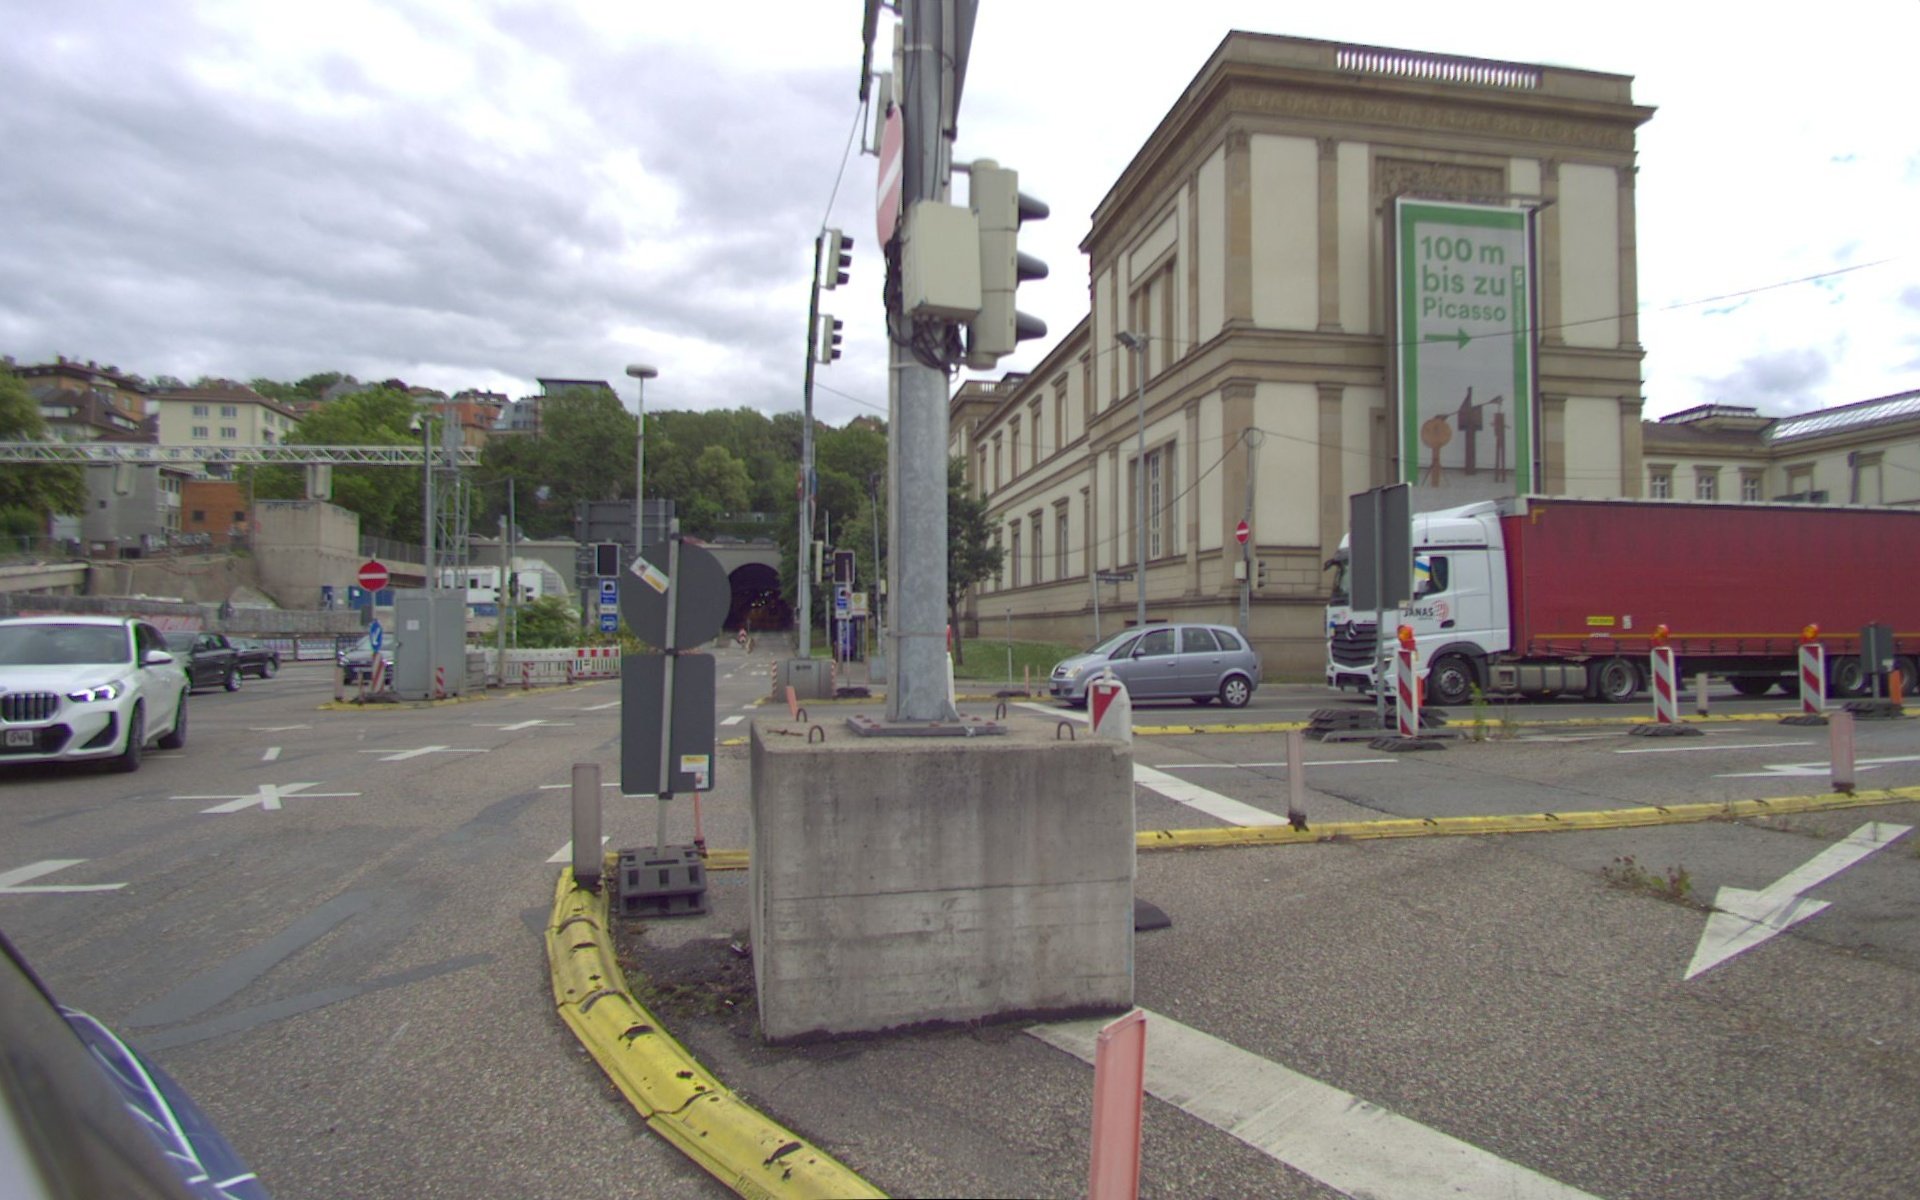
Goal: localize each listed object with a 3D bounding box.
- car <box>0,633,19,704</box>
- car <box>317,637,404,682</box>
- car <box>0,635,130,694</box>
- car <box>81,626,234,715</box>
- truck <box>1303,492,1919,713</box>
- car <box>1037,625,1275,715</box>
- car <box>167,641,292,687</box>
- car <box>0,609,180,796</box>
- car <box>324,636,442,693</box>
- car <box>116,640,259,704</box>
[{"bbox_3d":[-22.097,1.422,20.580,1.881,1.591,4.689,0,-3,-7],"label":"car"},{"bbox_3d":[-22.180,2.178,37.613,1.965,1.564,4.012,1,-3,-19],"label":"car"},{"bbox_3d":[-26.523,1.853,29.507,1.666,1.586,4.077,-2,-2,-7],"label":"car"},{"bbox_3d":[-15.904,1.379,20.247,1.663,1.586,3.724,0,-3,-27],"label":"car"},{"bbox_3d":[15.724,0.086,21.704,16.342,4.114,2.933,0,-3,-11],"label":"truck"},{"bbox_3d":[3.689,1.282,19.363,4.064,1.515,1.775,-1,-2,-11],"label":"car"},{"bbox_3d":[-23.777,2.081,33.089,1.701,1.400,3.708,0,-3,-7],"label":"car"},{"bbox_3d":[-9.379,0.915,10.291,1.782,1.617,3.724,2,-2,-30],"label":"car"},{"bbox_3d":[-17.254,1.894,30.470,1.967,1.564,4.010,0,-3,-13],"label":"car"},{"bbox_3d":[-18.695,1.709,24.675,1.551,1.430,3.581,1,-3,-16],"label":"car"}]
